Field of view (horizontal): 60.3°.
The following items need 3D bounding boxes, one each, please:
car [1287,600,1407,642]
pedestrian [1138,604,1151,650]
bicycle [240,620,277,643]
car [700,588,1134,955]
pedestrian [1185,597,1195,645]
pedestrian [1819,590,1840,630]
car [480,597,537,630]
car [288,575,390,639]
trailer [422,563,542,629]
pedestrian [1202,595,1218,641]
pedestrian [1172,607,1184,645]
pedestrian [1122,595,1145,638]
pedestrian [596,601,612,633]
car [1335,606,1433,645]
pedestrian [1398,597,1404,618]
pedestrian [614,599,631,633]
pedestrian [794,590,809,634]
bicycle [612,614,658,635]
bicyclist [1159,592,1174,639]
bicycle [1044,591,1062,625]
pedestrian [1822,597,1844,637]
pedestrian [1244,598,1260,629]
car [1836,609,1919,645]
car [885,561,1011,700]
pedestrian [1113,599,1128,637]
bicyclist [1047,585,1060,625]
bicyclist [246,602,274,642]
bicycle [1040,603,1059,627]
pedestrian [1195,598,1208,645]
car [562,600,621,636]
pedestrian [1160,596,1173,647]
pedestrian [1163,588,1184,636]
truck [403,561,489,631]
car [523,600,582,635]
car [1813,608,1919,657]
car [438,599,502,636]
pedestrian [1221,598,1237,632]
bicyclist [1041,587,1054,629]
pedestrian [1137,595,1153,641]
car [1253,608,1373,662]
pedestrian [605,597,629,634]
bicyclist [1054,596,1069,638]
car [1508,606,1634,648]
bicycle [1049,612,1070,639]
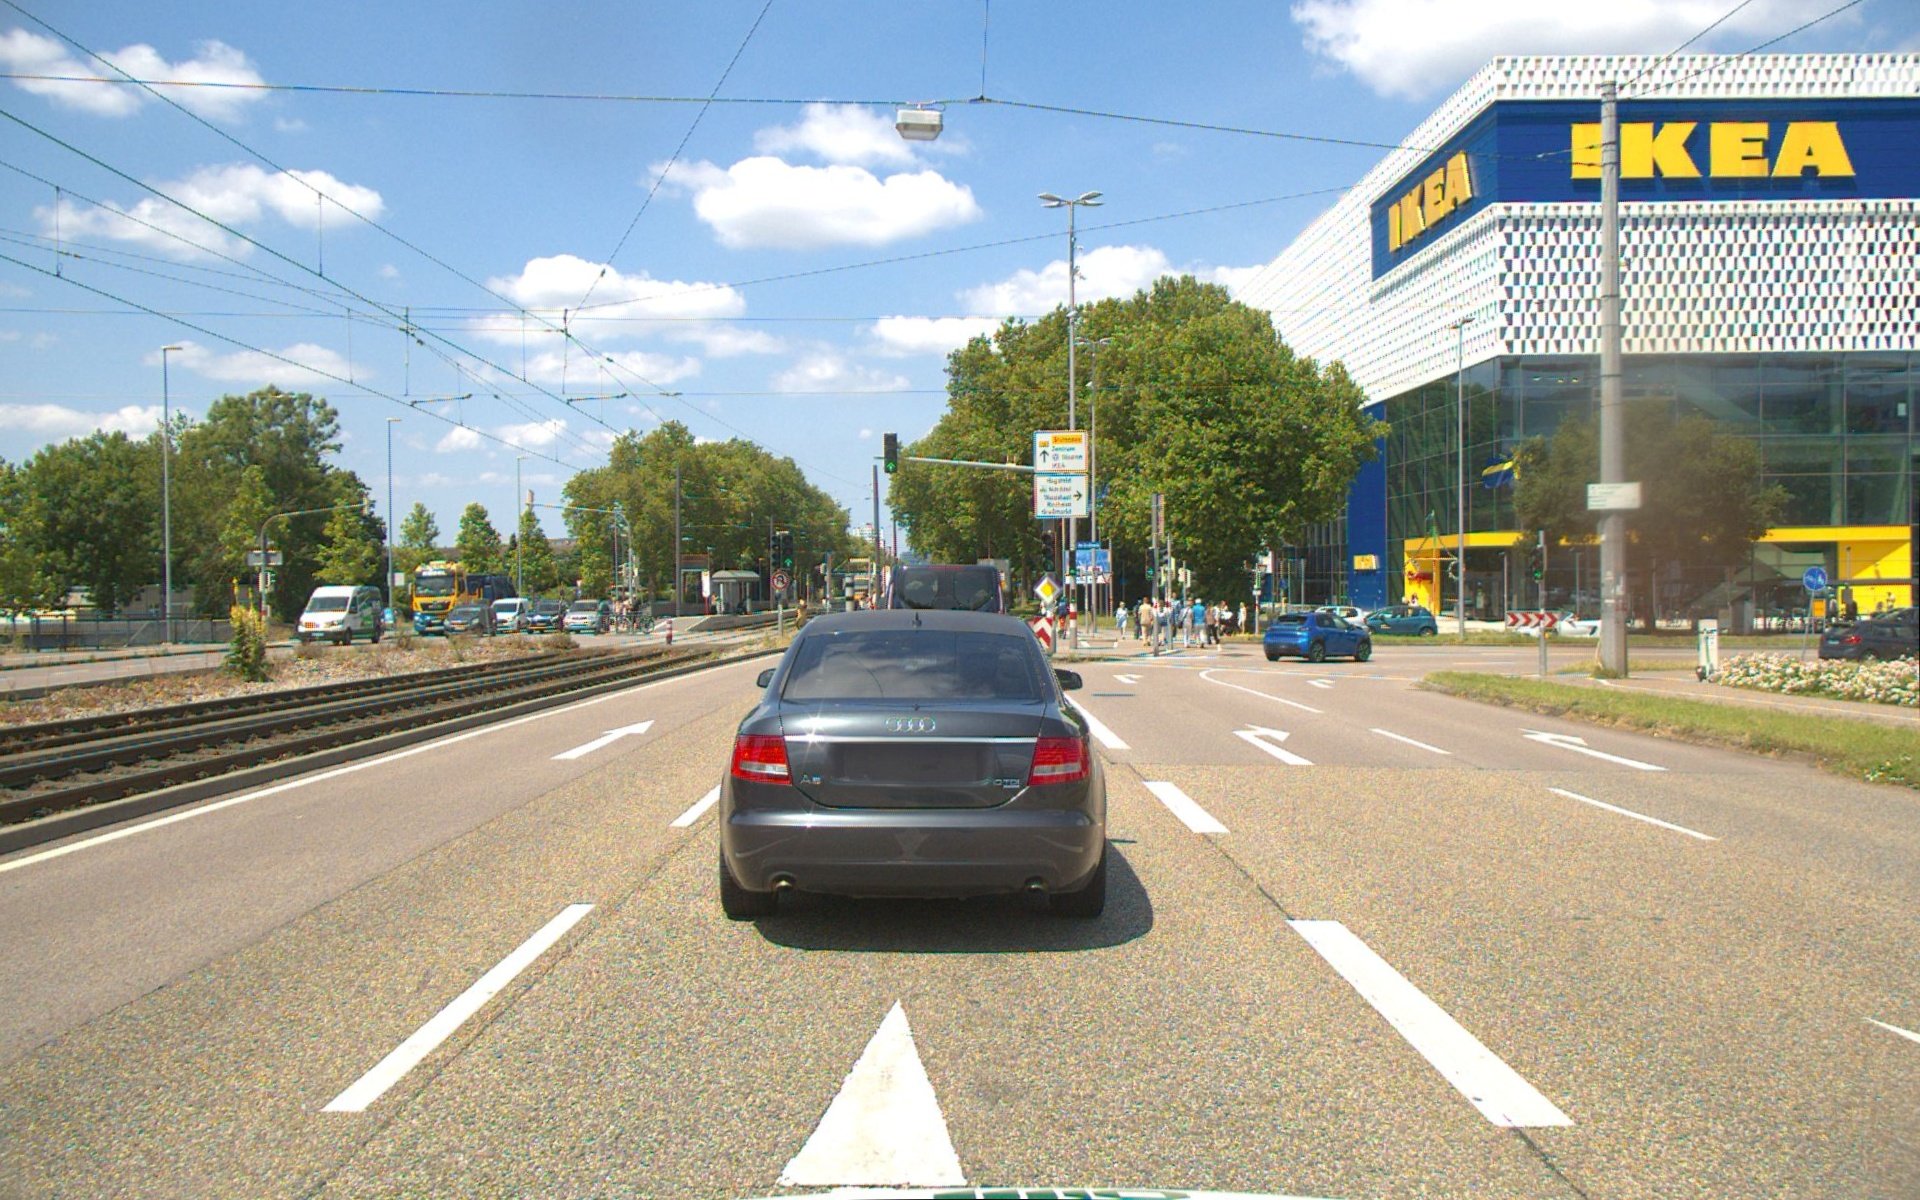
[{"bbox_3d":[15.685,0.839,67.217,4.403,1.512,2.001,2,0,3],"label":"car"},{"bbox_3d":[6.644,0.968,59.569,0.435,1.663,0.430,1,0,2],"label":"pedestrian"},{"bbox_3d":[-31.746,1.410,74.850,1.461,1.004,0.485,1,0,-5],"label":"bicycle"},{"bbox_3d":[-0.193,0.681,8.715,1.756,1.480,4.000,0,0,-1],"label":"car"},{"bbox_3d":[8.077,0.736,58.113,0.314,1.663,0.377,1,0,2],"label":"pedestrian"},{"bbox_3d":[45.430,0.514,86.403,0.696,2.049,0.824,1,0,1],"label":"pedestrian"},{"bbox_3d":[-24.429,0.714,89.541,1.785,1.699,4.461,1,0,1],"label":"car"},{"bbox_3d":[-27.442,0.247,73.340,2.198,2.634,6.233,-2,1,-2],"label":"car"},{"bbox_3d":[-28.019,-0.227,97.976,2.711,3.580,15.874,0,0,-1],"label":"trailer"},{"bbox_3d":[9.442,0.682,62.439,0.510,1.699,0.494,1,0,2],"label":"pedestrian"},{"bbox_3d":[7.670,0.907,58.130,0.365,1.326,0.365,1,0,2],"label":"pedestrian"},{"bbox_3d":[6.893,0.648,65.742,0.699,1.663,0.706,0,0,25],"label":"pedestrian"},{"bbox_3d":[-16.342,0.780,75.944,0.671,1.468,0.572,0,-1,-4],"label":"pedestrian"},{"bbox_3d":[18.055,1.058,70.594,3.710,1.512,2.001,2,0,3],"label":"car"},{"bbox_3d":[27.951,0.475,104.843,0.283,1.366,0.266,0,-1,-1],"label":"pedestrian"},{"bbox_3d":[-15.718,0.735,77.065,0.671,1.592,0.572,0,-1,-4],"label":"pedestrian"},{"bbox_3d":[-7.505,0.564,78.354,0.672,2.049,0.572,0,-1,-5],"label":"pedestrian"},{"bbox_3d":[-14.750,1.098,75.098,2.019,0.941,0.751,1,0,-11],"label":"bicycle"},{"bbox_3d":[8.046,0.608,64.342,0.517,1.795,0.828,0,-1,13],"label":"bicyclist"},{"bbox_3d":[4.271,0.351,76.245,0.673,1.545,2.751,1,0,0],"label":"bicycle"},{"bbox_3d":[45.116,0.882,85.445,0.696,2.049,0.824,1,0,1],"label":"pedestrian"},{"bbox_3d":[14.927,0.679,84.441,0.690,1.571,0.678,0,0,18],"label":"pedestrian"},{"bbox_3d":[40.247,1.153,70.810,4.403,1.512,2.001,1,0,3],"label":"car"},{"bbox_3d":[-0.198,0.445,25.628,1.799,1.984,3.999,0,0,-1],"label":"car"},{"bbox_3d":[6.660,0.735,68.450,0.483,1.546,0.707,0,0,17],"label":"pedestrian"},{"bbox_3d":[4.295,0.213,75.633,0.518,1.820,1.088,0,0,-1],"label":"bicyclist"},{"bbox_3d":[-31.660,1.003,74.790,1.097,1.805,0.340,1,0,-6],"label":"bicyclist"},{"bbox_3d":[3.901,0.664,72.500,0.673,1.011,2.751,1,0,0],"label":"bicycle"},{"bbox_3d":[8.483,0.755,58.065,0.389,1.663,0.371,1,0,2],"label":"pedestrian"},{"bbox_3d":[-18.414,0.856,82.807,1.784,1.699,4.462,1,0,2],"label":"car"},{"bbox_3d":[6.801,0.701,54.487,0.373,1.663,0.377,1,0,2],"label":"pedestrian"},{"bbox_3d":[8.498,0.484,65.827,0.671,1.878,0.706,0,0,25],"label":"pedestrian"},{"bbox_3d":[-27.895,-0.193,90.019,2.711,3.631,6.438,0,0,-1],"label":"truck"},{"bbox_3d":[-21.245,0.883,86.326,1.784,1.699,4.462,1,0,2],"label":"car"},{"bbox_3d":[30.388,1.054,54.686,4.030,1.553,1.754,0,0,-23],"label":"car"},{"bbox_3d":[-23.984,0.853,81.098,1.785,1.699,4.460,1,0,-1],"label":"car"},{"bbox_3d":[13.394,0.740,82.352,0.690,1.663,0.612,0,0,18],"label":"pedestrian"},{"bbox_3d":[3.839,0.354,72.587,0.518,1.820,1.088,0,0,0],"label":"bicyclist"},{"bbox_3d":[6.659,0.652,59.589,0.542,1.663,0.433,1,0,2],"label":"pedestrian"},{"bbox_3d":[10.563,1.023,49.326,1.810,1.480,3.977,2,0,41],"label":"car"},{"bbox_3d":[-16.328,0.740,78.708,0.806,1.750,0.775,0,0,21],"label":"pedestrian"},{"bbox_3d":[4.124,0.680,67.378,0.518,1.705,1.088,0,0,-1],"label":"bicyclist"},{"bbox_3d":[24.823,1.084,67.327,4.403,1.512,2.001,2,0,3],"label":"car"},{"bbox_3d":[4.056,1.023,67.334,0.673,1.023,2.751,1,0,0],"label":"bicycle"}]
